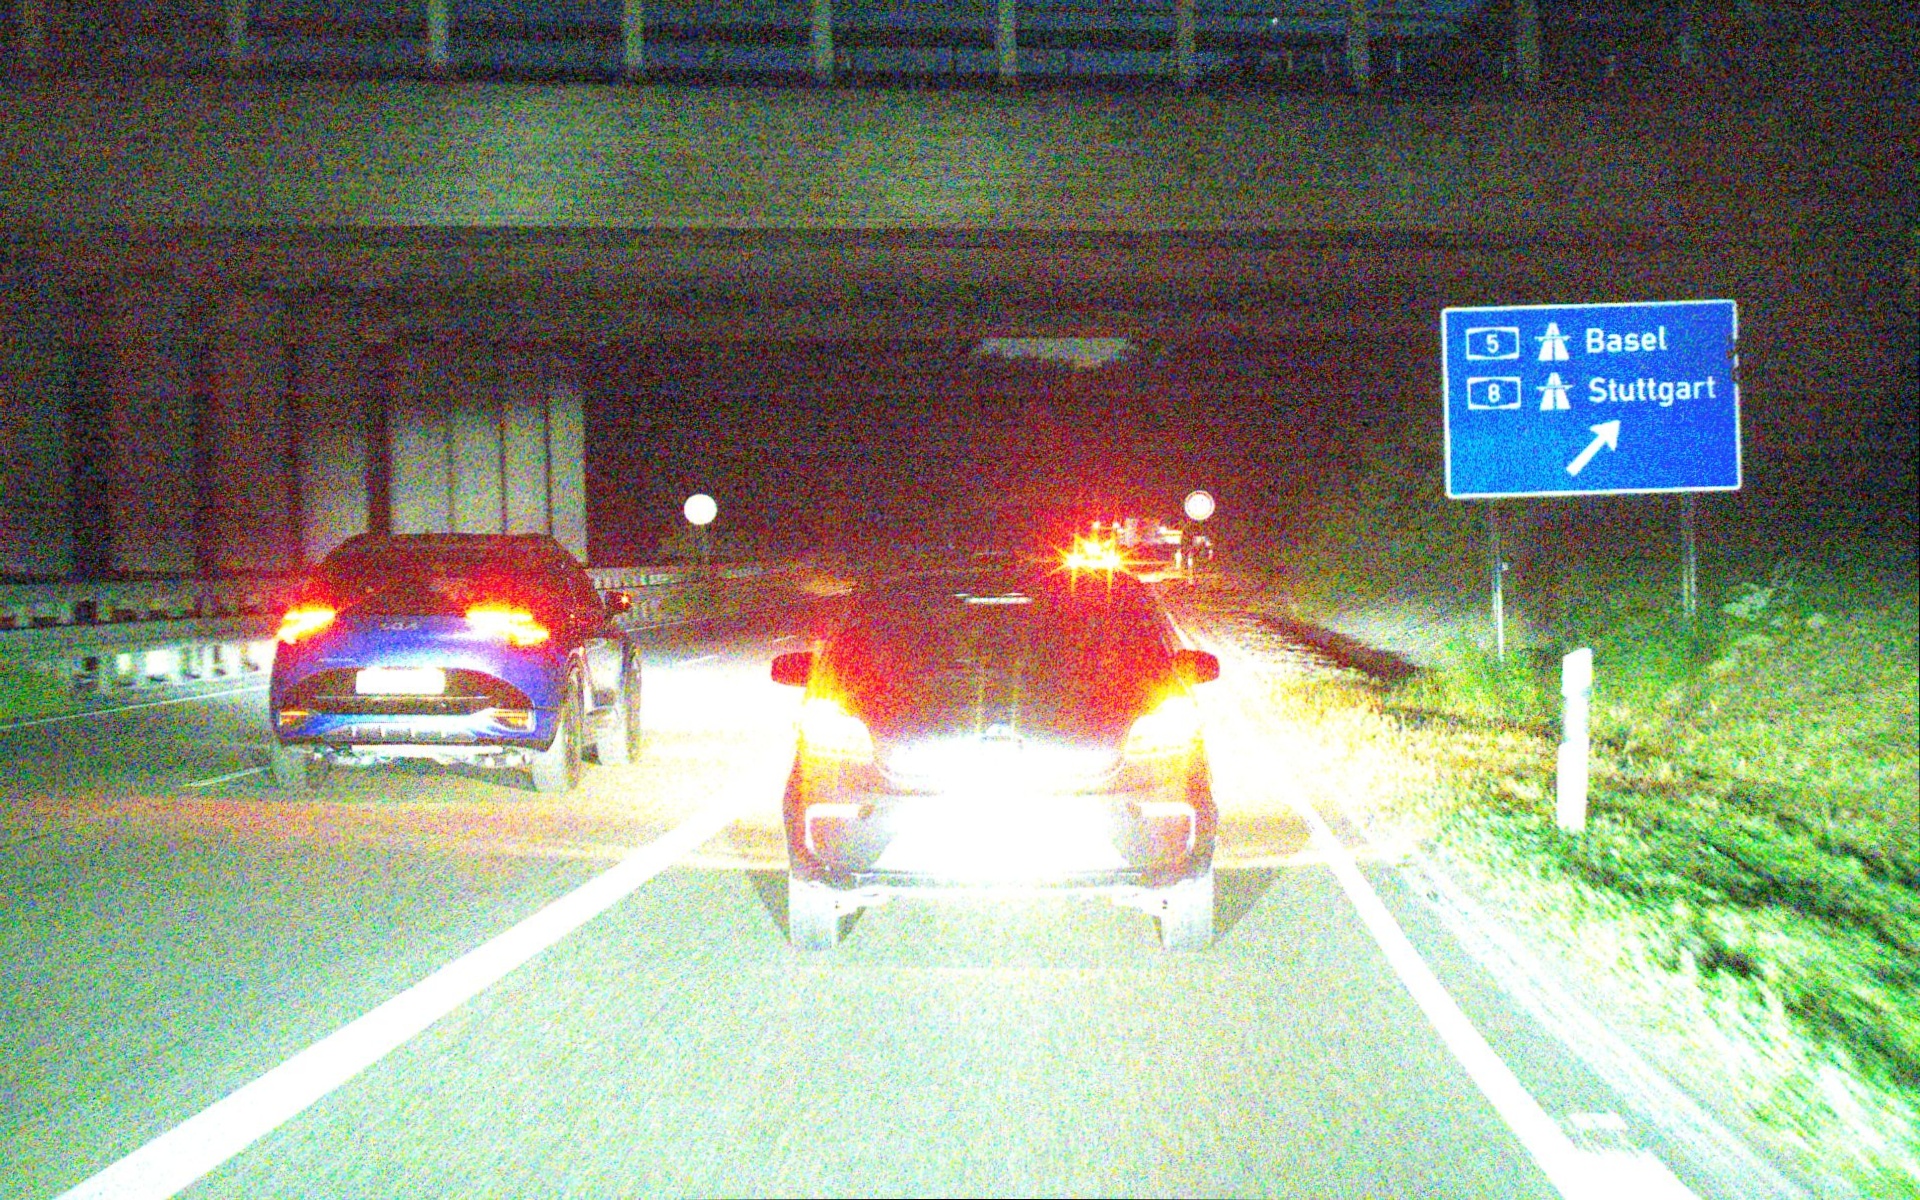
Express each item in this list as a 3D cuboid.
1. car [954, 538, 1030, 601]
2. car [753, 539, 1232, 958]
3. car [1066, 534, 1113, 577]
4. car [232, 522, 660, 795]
[{"bbox_3d":[0.919,-0.845,97.003,1.951,1.533,4.240,-4,-1,2],"label":"car"},{"bbox_3d":[0.070,0.514,14.314,1.691,1.473,4.000,1,0,-1],"label":"car"},{"bbox_3d":[4.933,-1.697,131.506,1.733,1.612,3.798,0,1,2],"label":"car"},{"bbox_3d":[-3.283,0.307,22.880,1.940,1.603,4.643,1,1,3],"label":"car"}]
